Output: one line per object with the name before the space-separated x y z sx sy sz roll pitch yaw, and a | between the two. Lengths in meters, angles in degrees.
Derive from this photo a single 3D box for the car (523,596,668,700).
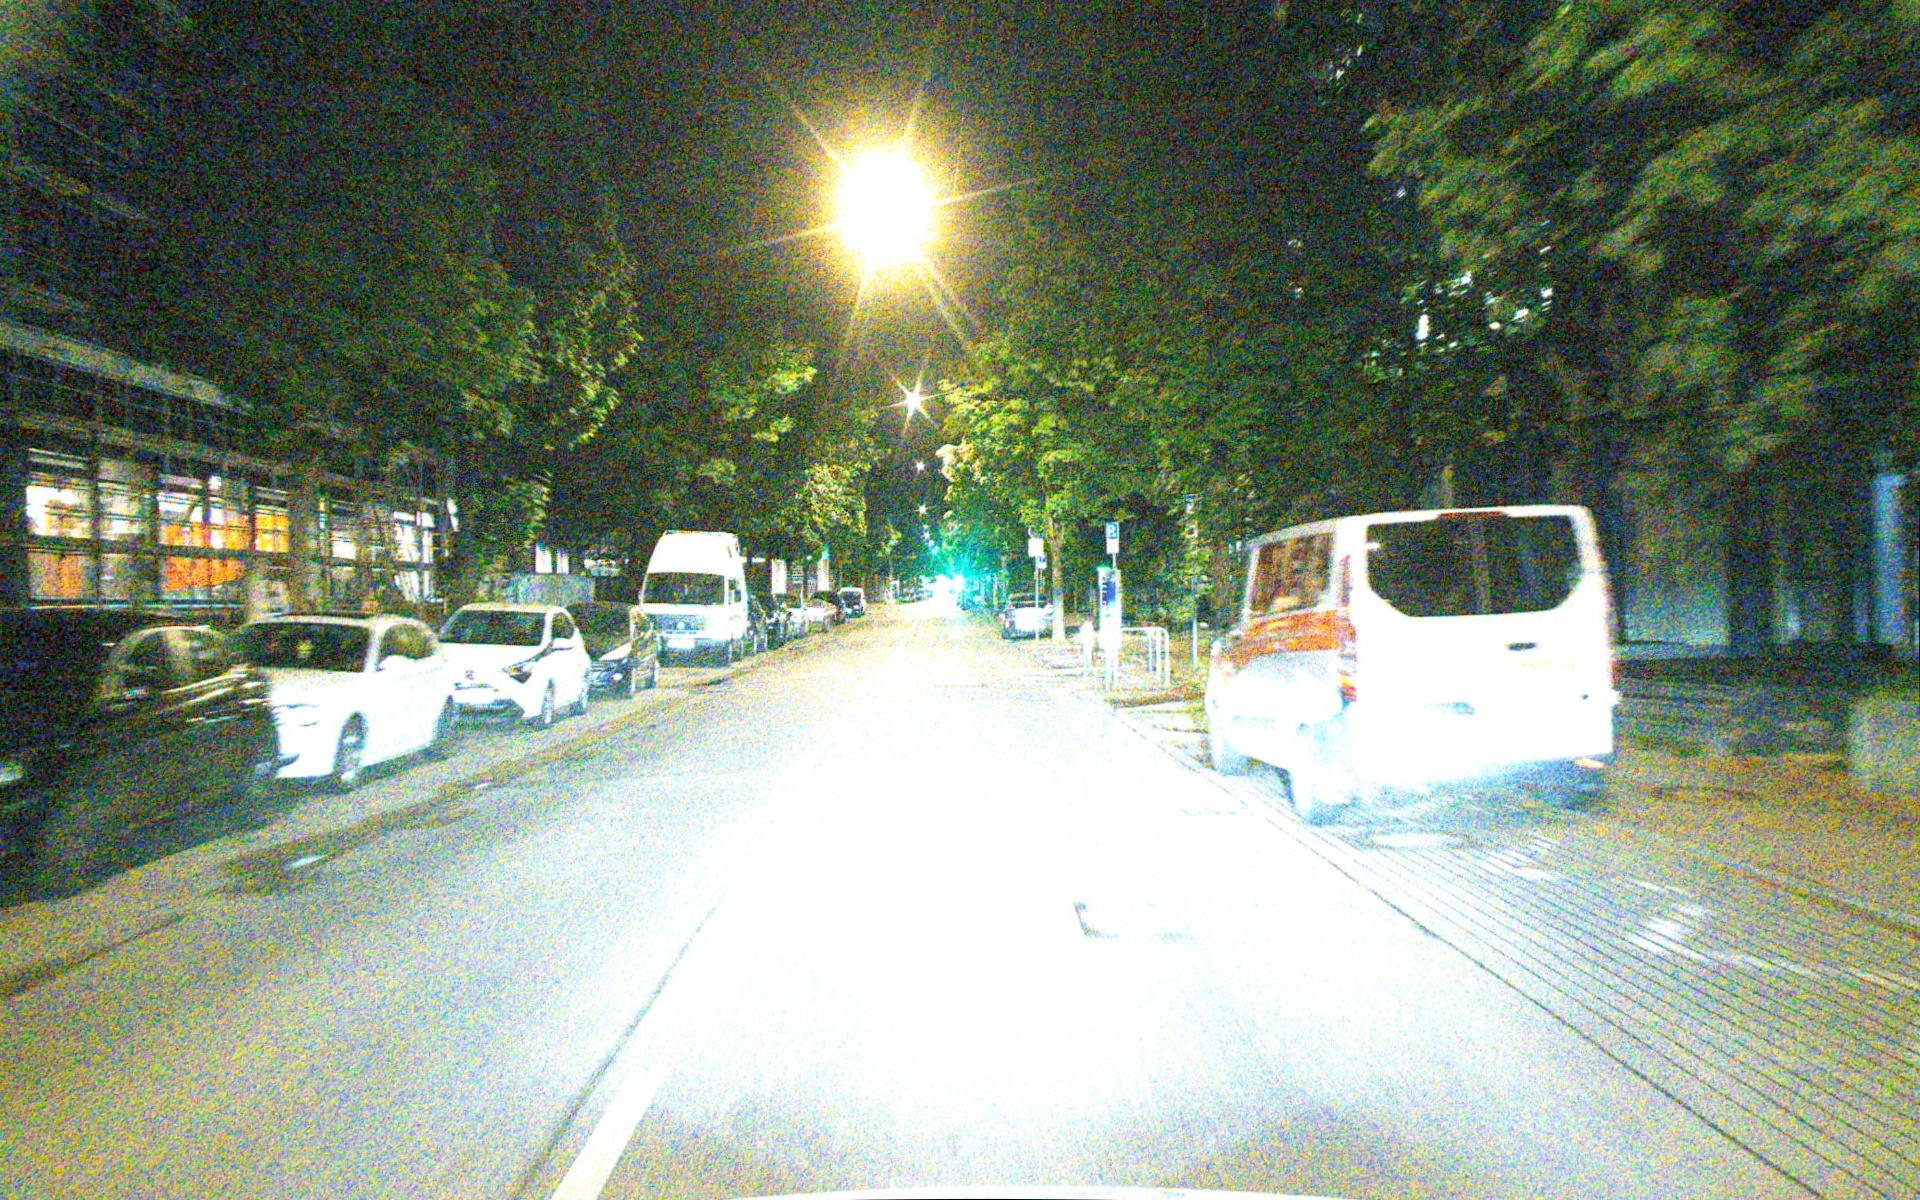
car | -5.864 0.724 27.021 1.612 1.531 3.860 1 0 -2

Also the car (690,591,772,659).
car | -5.946 0.625 43.351 1.707 1.634 4.114 0 1 -2

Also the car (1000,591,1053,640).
car | 2.153 0.468 54.354 1.634 1.454 4.149 -3 0 1

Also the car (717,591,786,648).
car | -6.140 0.538 49.025 1.707 1.634 4.296 0 0 -3

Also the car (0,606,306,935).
car | -5.504 0.841 10.020 1.609 1.530 3.902 1 0 -2

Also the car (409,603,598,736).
car | -5.679 0.810 20.924 1.516 1.480 3.367 1 1 -2

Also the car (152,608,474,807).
car | -5.615 0.850 14.846 1.415 1.454 3.902 2 0 -2

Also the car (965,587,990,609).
car | 1.281 -0.154 124.920 1.815 1.683 4.209 0 0 0

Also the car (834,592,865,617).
car | -6.929 0.267 104.093 1.665 1.458 3.828 2 1 0

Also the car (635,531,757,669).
car | -5.973 -0.022 38.006 2.135 2.960 4.908 0 0 -2

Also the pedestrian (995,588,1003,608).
pedestrian | 3.508 -0.217 148.965 0.691 1.751 0.821 -2 0 -1

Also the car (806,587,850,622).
car | -6.523 0.214 82.304 1.785 1.626 4.073 2 1 0

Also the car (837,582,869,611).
car | -7.195 -0.255 111.747 1.785 1.843 4.210 2 1 0

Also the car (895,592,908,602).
car | -8.230 -0.434 232.281 1.705 1.440 3.752 -1 0 -1

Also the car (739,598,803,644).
car | -6.172 0.658 54.404 1.670 1.436 4.632 -1 0 -1

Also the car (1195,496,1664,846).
car | 3.128 0.400 12.152 1.912 1.998 4.601 -2 0 -2

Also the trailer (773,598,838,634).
trailer | -6.222 0.617 67.147 2.067 1.358 5.435 1 0 0

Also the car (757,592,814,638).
car | -6.251 0.512 59.614 1.682 1.528 4.204 2 0 -2
